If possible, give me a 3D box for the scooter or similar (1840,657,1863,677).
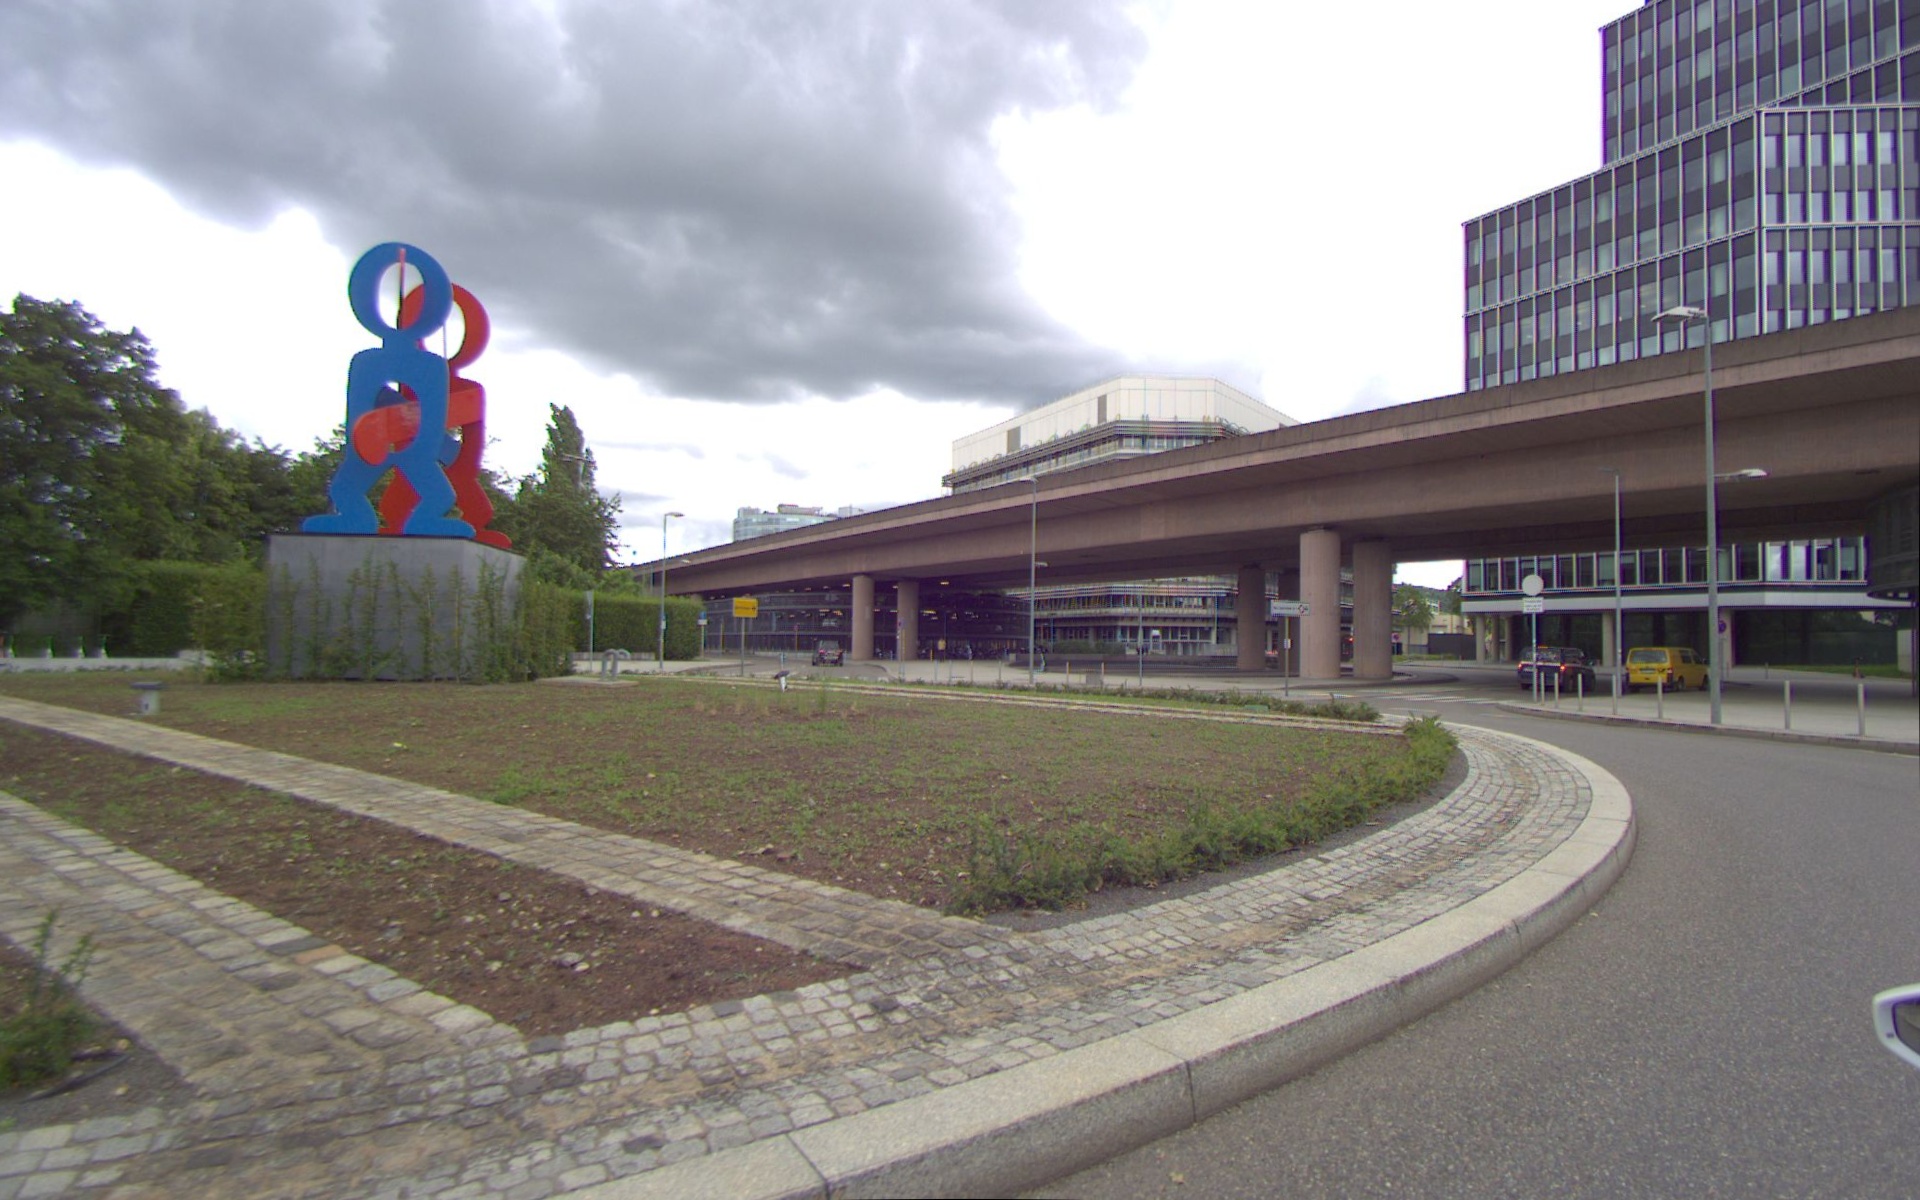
[{"bbox_3d":[52.216,3.901,58.856,0.688,1.119,1.499,0,-1,29],"label":"scooter or similar"}]

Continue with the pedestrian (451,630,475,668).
[{"bbox_3d":[-24.408,2.391,49.333,0.860,1.831,0.783,2,-1,-45],"label":"pedestrian"}]

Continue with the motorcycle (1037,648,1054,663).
[{"bbox_3d":[7.146,4.631,83.911,0.539,1.281,1.934,0,-1,37],"label":"motorcycle"}]

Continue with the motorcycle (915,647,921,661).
[{"bbox_3d":[-4.012,5.187,96.648,0.512,1.236,1.150,1,-1,-1],"label":"motorcycle"}]

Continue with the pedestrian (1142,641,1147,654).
[{"bbox_3d":[23.252,5.990,126.628,0.487,1.501,0.544,0,-1,27],"label":"pedestrian"}]

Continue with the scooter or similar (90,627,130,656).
[{"bbox_3d":[-34.046,1.641,40.228,1.941,1.124,0.639,0,-1,32],"label":"scooter or similar"}]

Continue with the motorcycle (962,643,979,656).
[{"bbox_3d":[1.030,4.949,100.129,0.666,1.236,2.062,1,-1,-30],"label":"motorcycle"}]

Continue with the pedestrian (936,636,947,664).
[{"bbox_3d":[-1.384,3.640,73.256,0.769,2.040,1.039,1,-1,-1],"label":"pedestrian"}]

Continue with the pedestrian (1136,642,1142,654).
[{"bbox_3d":[22.306,6.016,125.152,0.487,1.501,0.544,0,-1,27],"label":"pedestrian"}]

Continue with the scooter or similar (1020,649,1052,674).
[{"bbox_3d":[4.002,3.246,53.073,1.622,1.313,0.517,1,-1,-17],"label":"scooter or similar"}]

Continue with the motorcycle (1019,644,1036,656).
[{"bbox_3d":[7.134,5.285,106.202,0.666,1.236,2.344,1,-1,-30],"label":"motorcycle"}]

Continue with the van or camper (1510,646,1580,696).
[{"bbox_3d":[25.527,3.033,43.745,2.119,1.918,4.884,0,-2,37],"label":"van or camper"}]

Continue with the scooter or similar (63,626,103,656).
[{"bbox_3d":[-34.489,1.617,39.512,1.941,1.124,0.639,0,-1,32],"label":"scooter or similar"}]

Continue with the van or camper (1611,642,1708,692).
[{"bbox_3d":[30.889,2.895,44.301,4.465,2.025,2.336,2,-2,-38],"label":"van or camper"}]

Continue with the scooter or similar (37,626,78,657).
[{"bbox_3d":[-34.901,1.598,38.824,1.941,1.124,0.639,0,-1,32],"label":"scooter or similar"}]

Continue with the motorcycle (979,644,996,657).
[{"bbox_3d":[2.787,5.107,101.446,0.666,1.236,2.061,1,-1,-31],"label":"motorcycle"}]

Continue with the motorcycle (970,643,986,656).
[{"bbox_3d":[1.772,4.942,100.644,0.666,1.303,2.062,1,-1,-30],"label":"motorcycle"}]

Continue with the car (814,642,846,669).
[{"bbox_3d":[-9.027,3.817,69.543,1.814,1.734,3.697,1,-1,-12],"label":"car"}]

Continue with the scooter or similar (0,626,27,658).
[{"bbox_3d":[-35.652,1.556,37.530,1.941,1.124,0.639,0,-1,32],"label":"scooter or similar"}]

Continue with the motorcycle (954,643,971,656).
[{"bbox_3d":[0.232,4.923,99.600,0.666,1.236,2.062,1,-1,-30],"label":"motorcycle"}]
